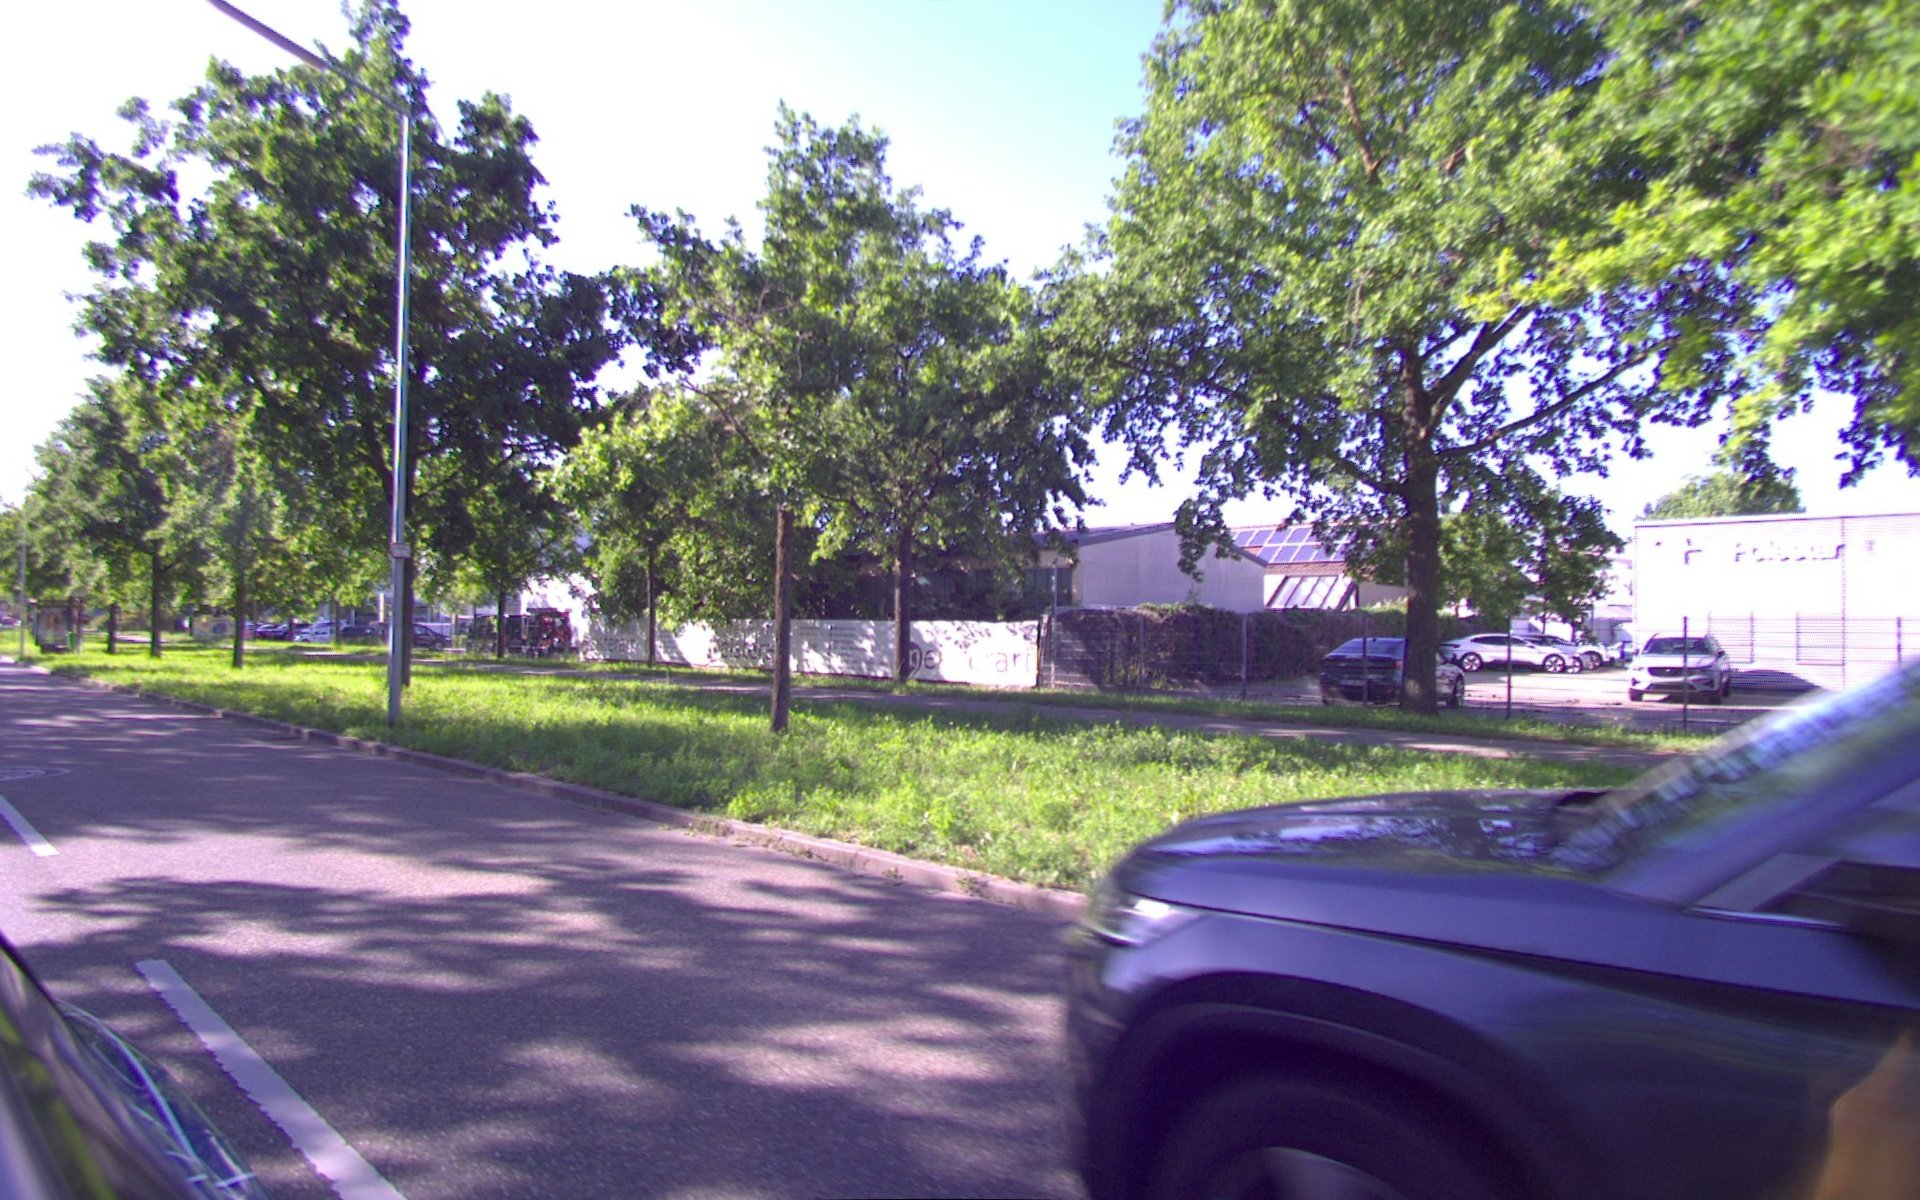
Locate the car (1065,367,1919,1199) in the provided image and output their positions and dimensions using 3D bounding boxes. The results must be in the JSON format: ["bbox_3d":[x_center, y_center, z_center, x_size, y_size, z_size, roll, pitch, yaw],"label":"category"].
[{"bbox_3d":[2.370,0.598,1.264,4.195,1.685,1.750,-1,-3,40],"label":"car"}]

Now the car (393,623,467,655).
[{"bbox_3d":[-34.280,2.521,65.551,3.931,2.029,2.006,1,-2,-18],"label":"car"}]

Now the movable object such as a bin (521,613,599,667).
[{"bbox_3d":[-19.700,1.903,49.788,4.237,2.535,1.971,-1,0,44],"label":"movable object such as a bin"}]

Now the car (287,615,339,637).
[{"bbox_3d":[-56.685,2.251,88.744,1.973,1.851,3.997,-1,0,2],"label":"car"}]

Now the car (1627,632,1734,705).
[{"bbox_3d":[17.985,1.634,25.207,1.751,1.530,3.945,-1,0,42],"label":"car"}]

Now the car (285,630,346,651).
[{"bbox_3d":[-50.439,3.158,79.281,3.827,1.513,2.006,-1,0,-27],"label":"car"}]

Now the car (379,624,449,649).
[{"bbox_3d":[-44.539,2.989,82.678,4.963,1.852,2.007,-1,0,-25],"label":"car"}]

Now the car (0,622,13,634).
[{"bbox_3d":[-164.785,4.888,174.487,1.969,2.029,4.005,2,-2,-41],"label":"car"}]

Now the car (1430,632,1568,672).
[{"bbox_3d":[21.610,2.073,40.729,4.577,1.530,1.739,-1,0,15],"label":"car"}]

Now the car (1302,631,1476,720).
[{"bbox_3d":[9.009,1.478,21.097,2.198,1.530,3.945,-1,0,42],"label":"car"}]

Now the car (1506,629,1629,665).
[{"bbox_3d":[27.450,2.099,45.930,4.594,1.530,1.732,-1,0,26],"label":"car"}]

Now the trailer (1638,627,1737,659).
[{"bbox_3d":[48.448,2.825,67.555,1.966,2.029,5.215,1,-2,-18],"label":"trailer"}]

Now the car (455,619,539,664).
[{"bbox_3d":[-24.257,2.135,52.885,5.671,2.191,1.972,-1,-2,43],"label":"car"}]
